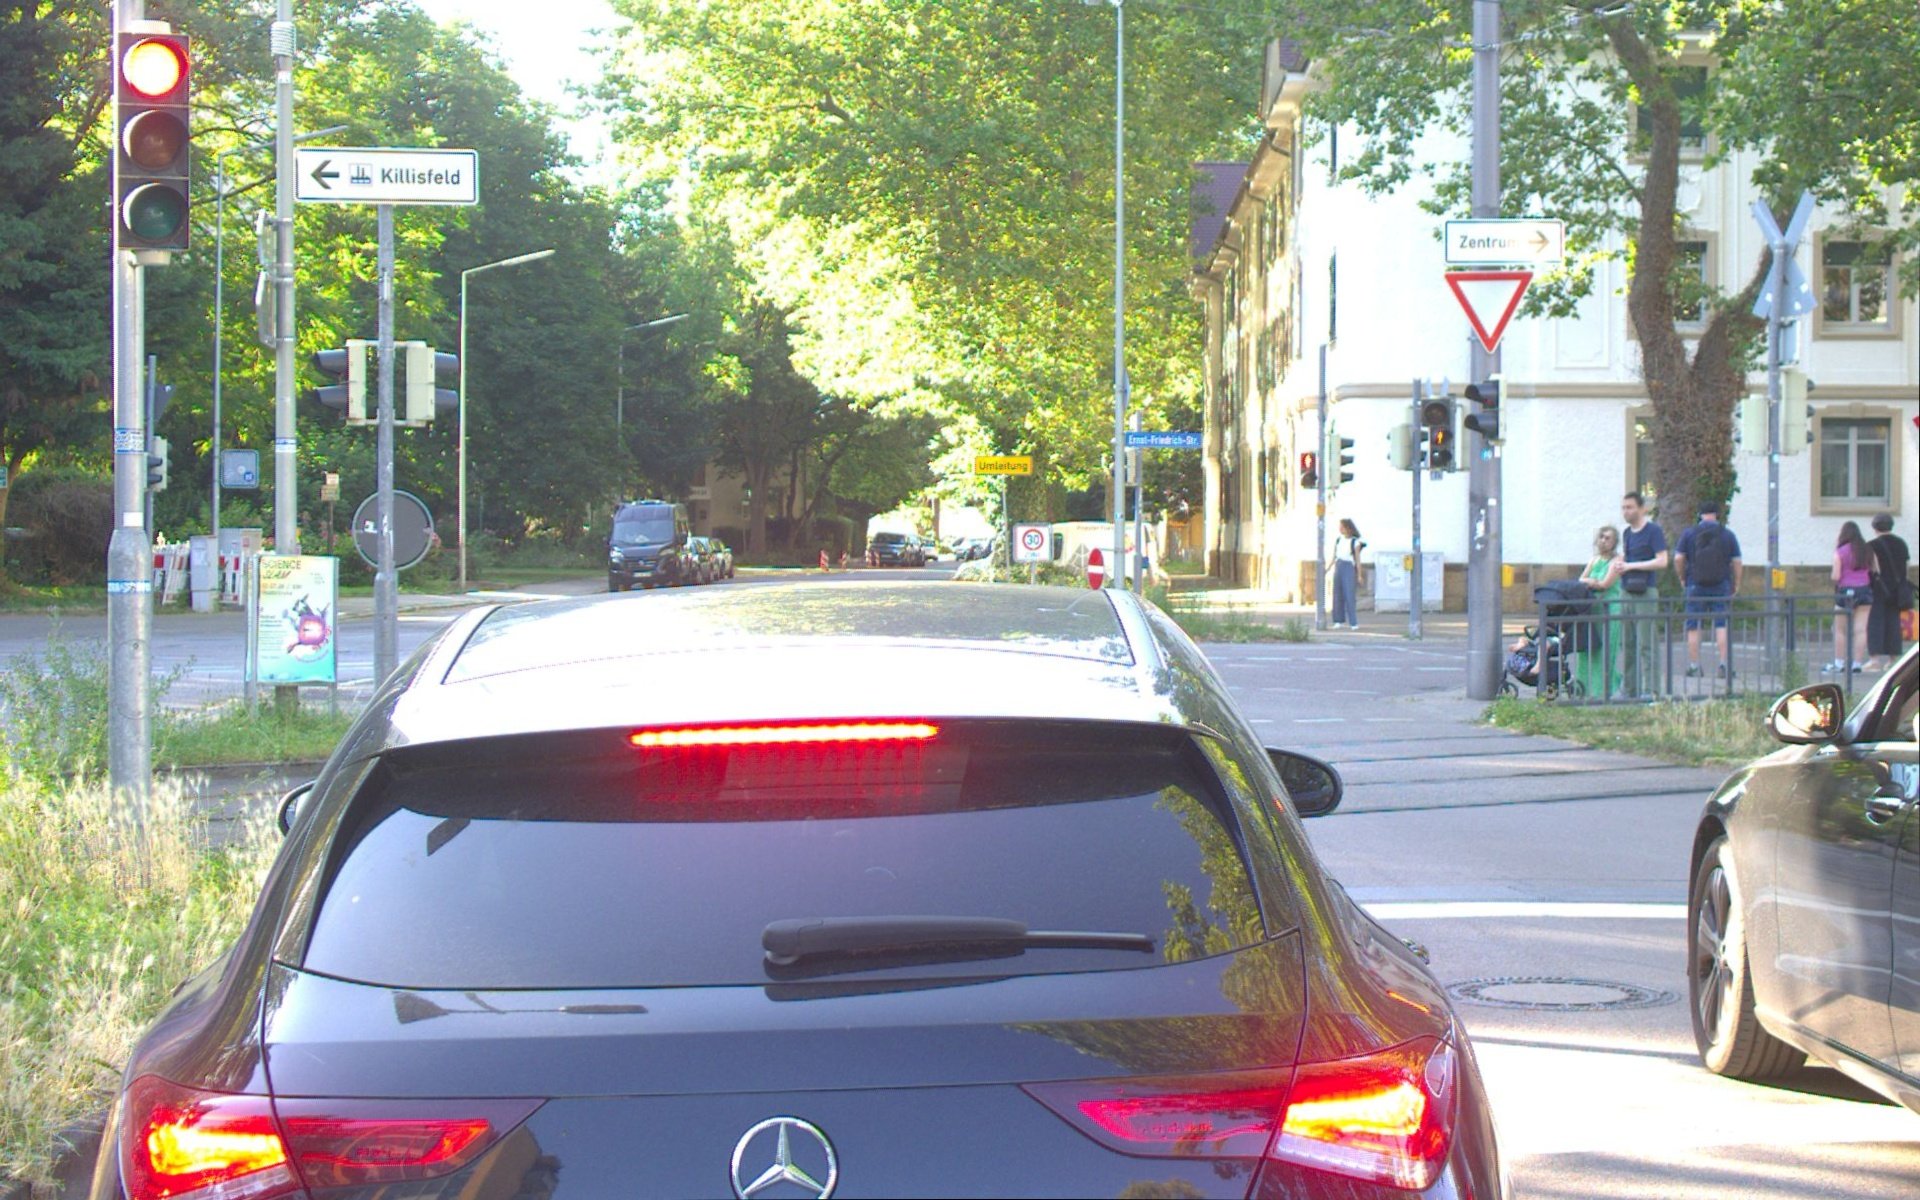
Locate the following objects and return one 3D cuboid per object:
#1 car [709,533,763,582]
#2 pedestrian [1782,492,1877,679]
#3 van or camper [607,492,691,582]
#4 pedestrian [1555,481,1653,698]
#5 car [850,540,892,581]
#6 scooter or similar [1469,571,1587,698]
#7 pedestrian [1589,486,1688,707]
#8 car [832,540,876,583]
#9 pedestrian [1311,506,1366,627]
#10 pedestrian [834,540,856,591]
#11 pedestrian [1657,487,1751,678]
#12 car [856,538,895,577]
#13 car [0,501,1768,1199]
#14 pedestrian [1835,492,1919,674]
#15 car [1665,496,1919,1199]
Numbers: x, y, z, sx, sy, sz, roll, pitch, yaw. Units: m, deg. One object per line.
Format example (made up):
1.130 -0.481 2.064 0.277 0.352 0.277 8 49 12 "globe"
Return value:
-8.222 -1.560 126.414 1.733 1.759 3.971 1 1 -1 "car"
9.022 -0.150 35.680 0.705 1.911 0.839 1 0 -4 "pedestrian"
-8.990 -1.800 99.749 1.993 2.532 4.651 1 1 0 "van or camper"
5.783 -0.096 30.901 0.682 1.911 0.707 1 0 -4 "pedestrian"
-3.872 -1.740 150.394 1.733 1.759 4.019 1 1 -1 "car"
5.022 0.300 30.429 0.828 1.101 0.809 1 0 -6 "scooter or similar"
5.941 -0.034 30.129 0.682 1.911 0.707 1 0 -2 "pedestrian"
-4.475 -1.639 145.526 1.733 1.759 4.019 1 1 -1 "car"
6.063 -0.540 55.117 0.705 1.911 0.839 1 0 -4 "pedestrian"
-4.361 -1.318 130.038 0.705 1.911 0.839 1 0 -10 "pedestrian"
7.570 -0.184 35.021 0.705 1.911 0.839 1 0 -4 "pedestrian"
-3.893 -1.963 158.476 1.733 1.759 4.019 1 1 -1 "car"
-0.136 0.629 5.414 1.889 1.445 4.001 1 3 1 "car"
9.832 -0.179 36.679 0.705 1.911 0.839 1 0 -4 "pedestrian"
2.893 0.584 7.314 1.889 1.485 4.382 1 3 1 "car"
